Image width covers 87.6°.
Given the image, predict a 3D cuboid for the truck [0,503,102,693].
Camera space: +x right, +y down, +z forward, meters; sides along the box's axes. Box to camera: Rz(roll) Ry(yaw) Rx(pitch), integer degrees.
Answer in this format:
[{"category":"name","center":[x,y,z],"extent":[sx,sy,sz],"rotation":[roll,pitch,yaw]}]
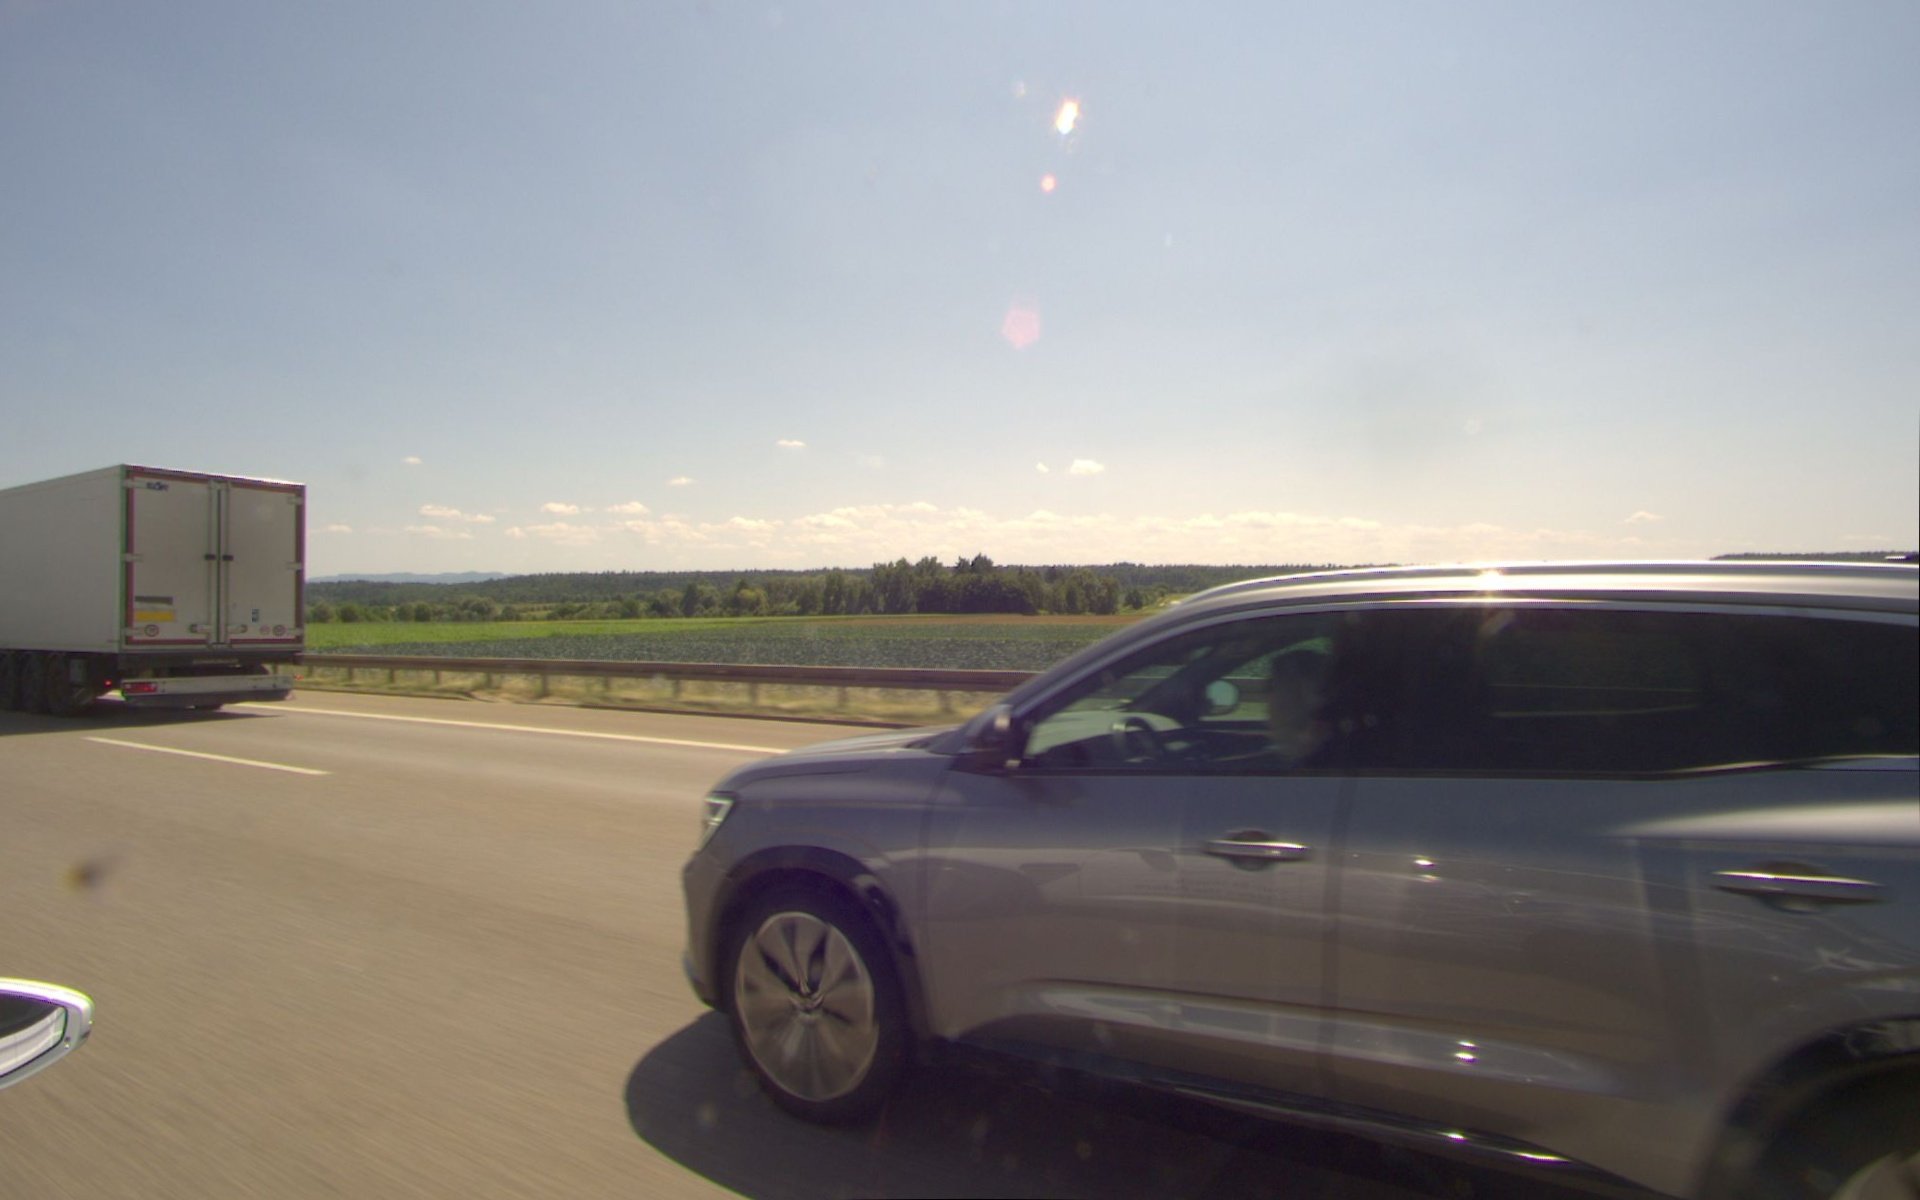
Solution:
[{"category":"truck","center":[-23.642,0.028,23.931],"extent":[6.781,4.143,2.858],"rotation":[-1,-2,32]}]

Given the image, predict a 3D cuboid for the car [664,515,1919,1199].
[{"category":"car","center":[1.475,0.747,2.793],"extent":[4.578,1.669,1.849],"rotation":[-1,-3,32]}]

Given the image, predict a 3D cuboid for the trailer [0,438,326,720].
[{"category":"trailer","center":[-17.418,-0.149,19.931],"extent":[13.107,4.273,2.863],"rotation":[-1,-2,33]}]
